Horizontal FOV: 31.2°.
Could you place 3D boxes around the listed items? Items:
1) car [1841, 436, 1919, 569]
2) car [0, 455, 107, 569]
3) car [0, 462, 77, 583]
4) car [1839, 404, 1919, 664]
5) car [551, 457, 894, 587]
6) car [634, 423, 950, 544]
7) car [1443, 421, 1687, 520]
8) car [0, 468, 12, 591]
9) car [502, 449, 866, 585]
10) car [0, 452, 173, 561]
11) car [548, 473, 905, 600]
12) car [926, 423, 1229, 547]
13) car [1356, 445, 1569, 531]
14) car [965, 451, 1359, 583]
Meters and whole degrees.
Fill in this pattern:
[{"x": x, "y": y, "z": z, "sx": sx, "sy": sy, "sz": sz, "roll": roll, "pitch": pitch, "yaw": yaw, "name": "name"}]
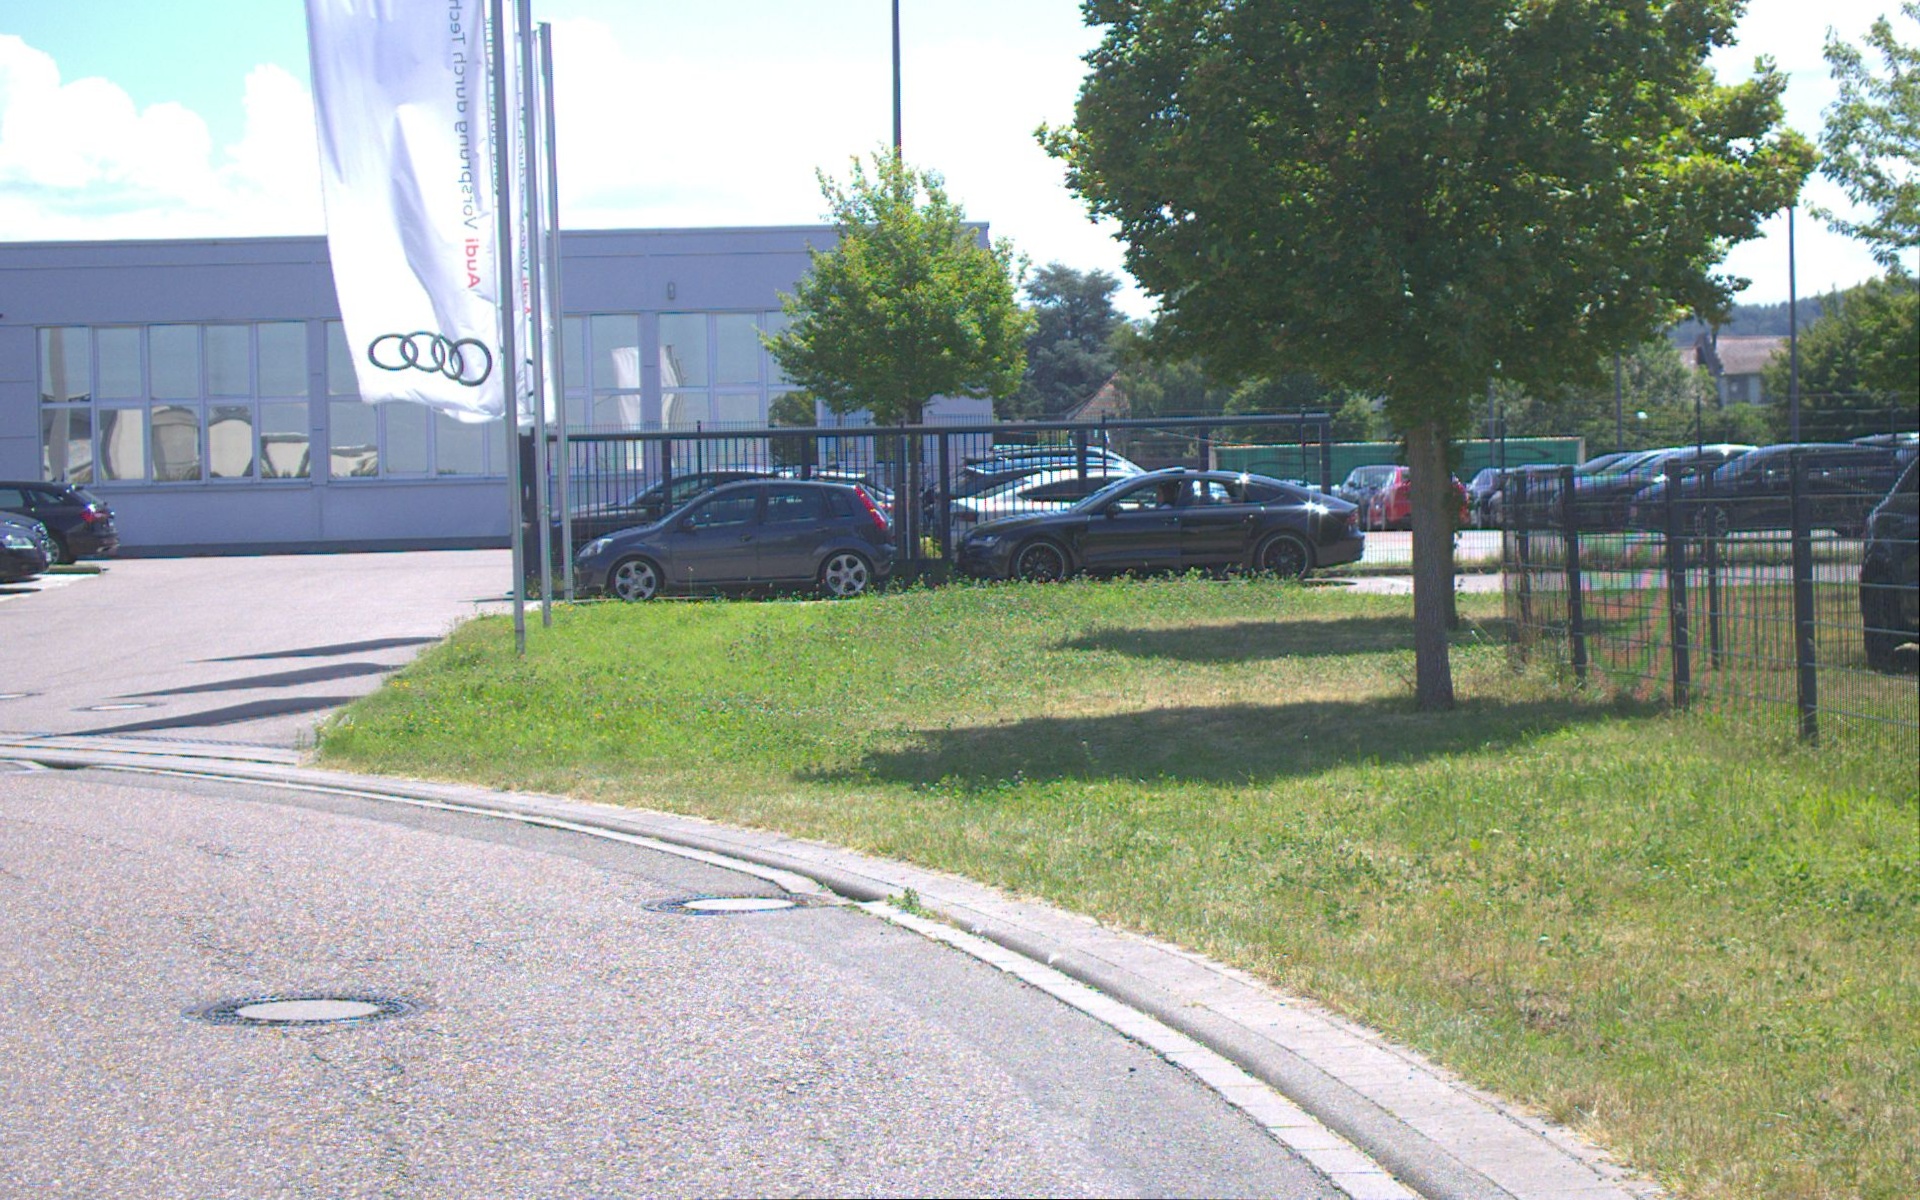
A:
[{"x": 13.209, "y": -1.255, "z": 42.008, "sx": 4.391, "sy": 1.561, "sz": 1.781, "roll": -2, "pitch": 3, "yaw": -2, "name": "car"}, {"x": -15.157, "y": -1.292, "z": 51.379, "sx": 4.363, "sy": 1.624, "sz": 1.968, "roll": -2, "pitch": 3, "yaw": -4, "name": "car"}, {"x": -14.872, "y": -1.046, "z": 48.002, "sx": 4.610, "sy": 1.624, "sz": 1.968, "roll": -2, "pitch": 3, "yaw": -4, "name": "car"}, {"x": 6.818, "y": -0.431, "z": 20.422, "sx": 1.774, "sy": 1.596, "sz": 4.283, "roll": -2, "pitch": 0, "yaw": -4, "name": "car"}, {"x": -3.294, "y": -1.105, "z": 47.636, "sx": 4.610, "sy": 1.624, "sz": 1.968, "roll": -2, "pitch": 3, "yaw": -4, "name": "car"}, {"x": -2.551, "y": -1.751, "z": 51.792, "sx": 4.610, "sy": 1.624, "sz": 1.968, "roll": -2, "pitch": 2, "yaw": -4, "name": "car"}, {"x": 11.226, "y": -2.396, "z": 63.935, "sx": 3.986, "sy": 1.682, "sz": 2.001, "roll": -2, "pitch": 2, "yaw": -8, "name": "car"}, {"x": -14.978, "y": -0.852, "z": 44.996, "sx": 4.610, "sy": 1.624, "sz": 1.968, "roll": -2, "pitch": 3, "yaw": -4, "name": "car"}, {"x": -3.602, "y": -1.109, "z": 44.990, "sx": 4.610, "sy": 1.624, "sz": 1.968, "roll": -2, "pitch": 3, "yaw": -4, "name": "car"}, {"x": -14.968, "y": -1.474, "z": 54.394, "sx": 4.610, "sy": 1.624, "sz": 1.968, "roll": -2, "pitch": 3, "yaw": -4, "name": "car"}, {"x": -2.758, "y": -0.773, "z": 41.160, "sx": 4.131, "sy": 1.344, "sz": 1.781, "roll": -2, "pitch": 3, "yaw": -2, "name": "car"}, {"x": 1.686, "y": -1.681, "z": 50.274, "sx": 4.199, "sy": 1.624, "sz": 1.796, "roll": -2, "pitch": 2, "yaw": -4, "name": "car"}, {"x": 10.582, "y": -2.359, "z": 72.508, "sx": 3.986, "sy": 1.682, "sz": 2.001, "roll": -2, "pitch": 2, "yaw": -8, "name": "car"}, {"x": 2.374, "y": -1.011, "z": 41.240, "sx": 4.558, "sy": 1.396, "sz": 1.781, "roll": -2, "pitch": 3, "yaw": -1, "name": "car"}]
